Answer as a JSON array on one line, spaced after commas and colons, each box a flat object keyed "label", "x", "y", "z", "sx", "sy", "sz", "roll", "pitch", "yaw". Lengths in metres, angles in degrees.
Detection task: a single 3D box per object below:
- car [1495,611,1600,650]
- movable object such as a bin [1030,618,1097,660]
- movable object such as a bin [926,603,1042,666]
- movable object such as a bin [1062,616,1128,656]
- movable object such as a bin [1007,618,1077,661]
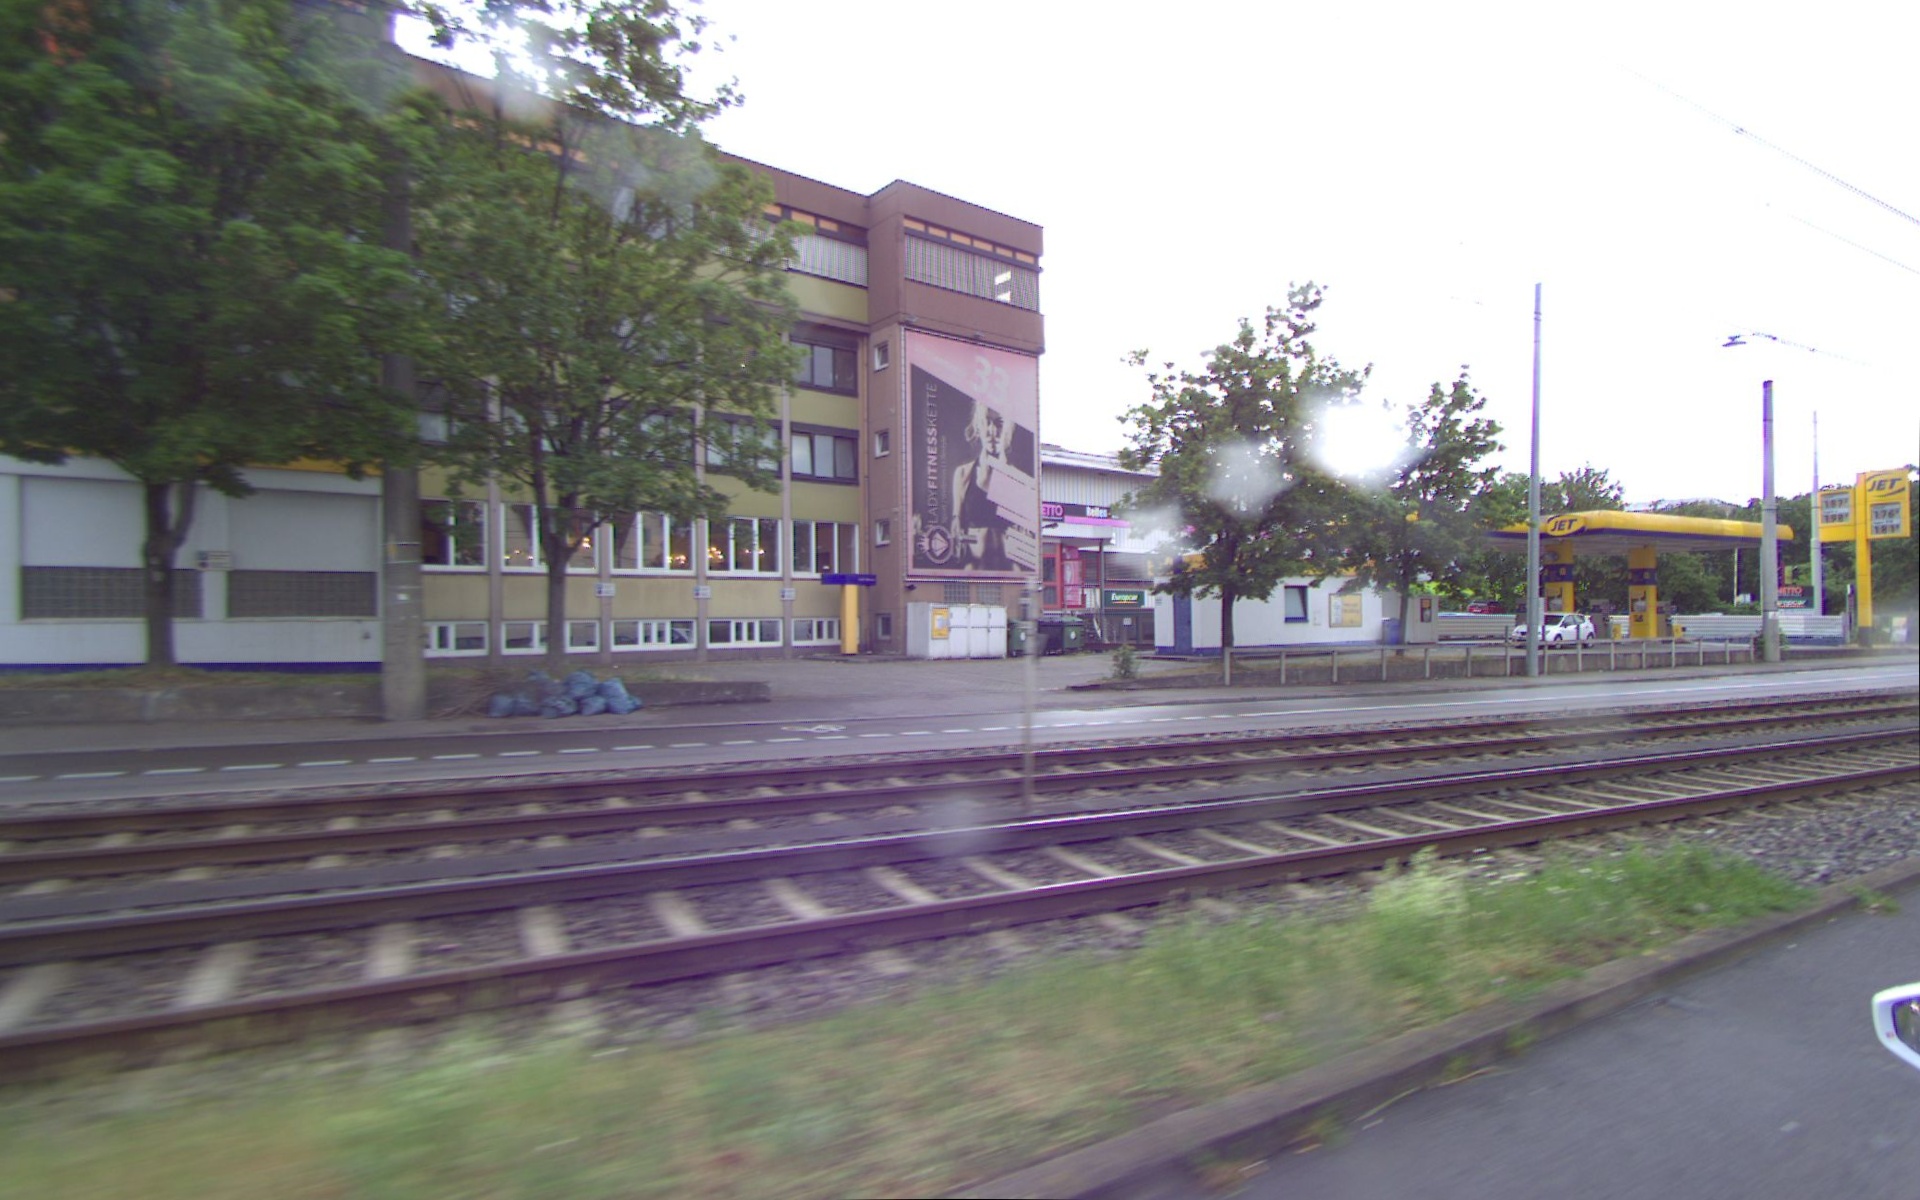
[{"label": "car", "x": 23.778, "y": 1.238, "z": 40.614, "sx": 3.953, "sy": 1.461, "sz": 1.984, "roll": 2, "pitch": 0, "yaw": -30}, {"label": "movable object such as a bin", "x": 3.839, "y": 1.418, "z": 37.282, "sx": 1.556, "sy": 1.394, "sz": 1.978, "roll": 0, "pitch": 1, "yaw": -39}, {"label": "movable object such as a bin", "x": 0.838, "y": 1.111, "z": 34.082, "sx": 3.540, "sy": 1.945, "sz": 1.977, "roll": 0, "pitch": 1, "yaw": -39}, {"label": "movable object such as a bin", "x": 5.156, "y": 1.353, "z": 38.315, "sx": 1.556, "sy": 1.394, "sz": 1.978, "roll": 0, "pitch": 1, "yaw": -39}, {"label": "movable object such as a bin", "x": 2.918, "y": 1.389, "z": 35.890, "sx": 1.556, "sy": 1.394, "sz": 1.978, "roll": 0, "pitch": 1, "yaw": -39}]
